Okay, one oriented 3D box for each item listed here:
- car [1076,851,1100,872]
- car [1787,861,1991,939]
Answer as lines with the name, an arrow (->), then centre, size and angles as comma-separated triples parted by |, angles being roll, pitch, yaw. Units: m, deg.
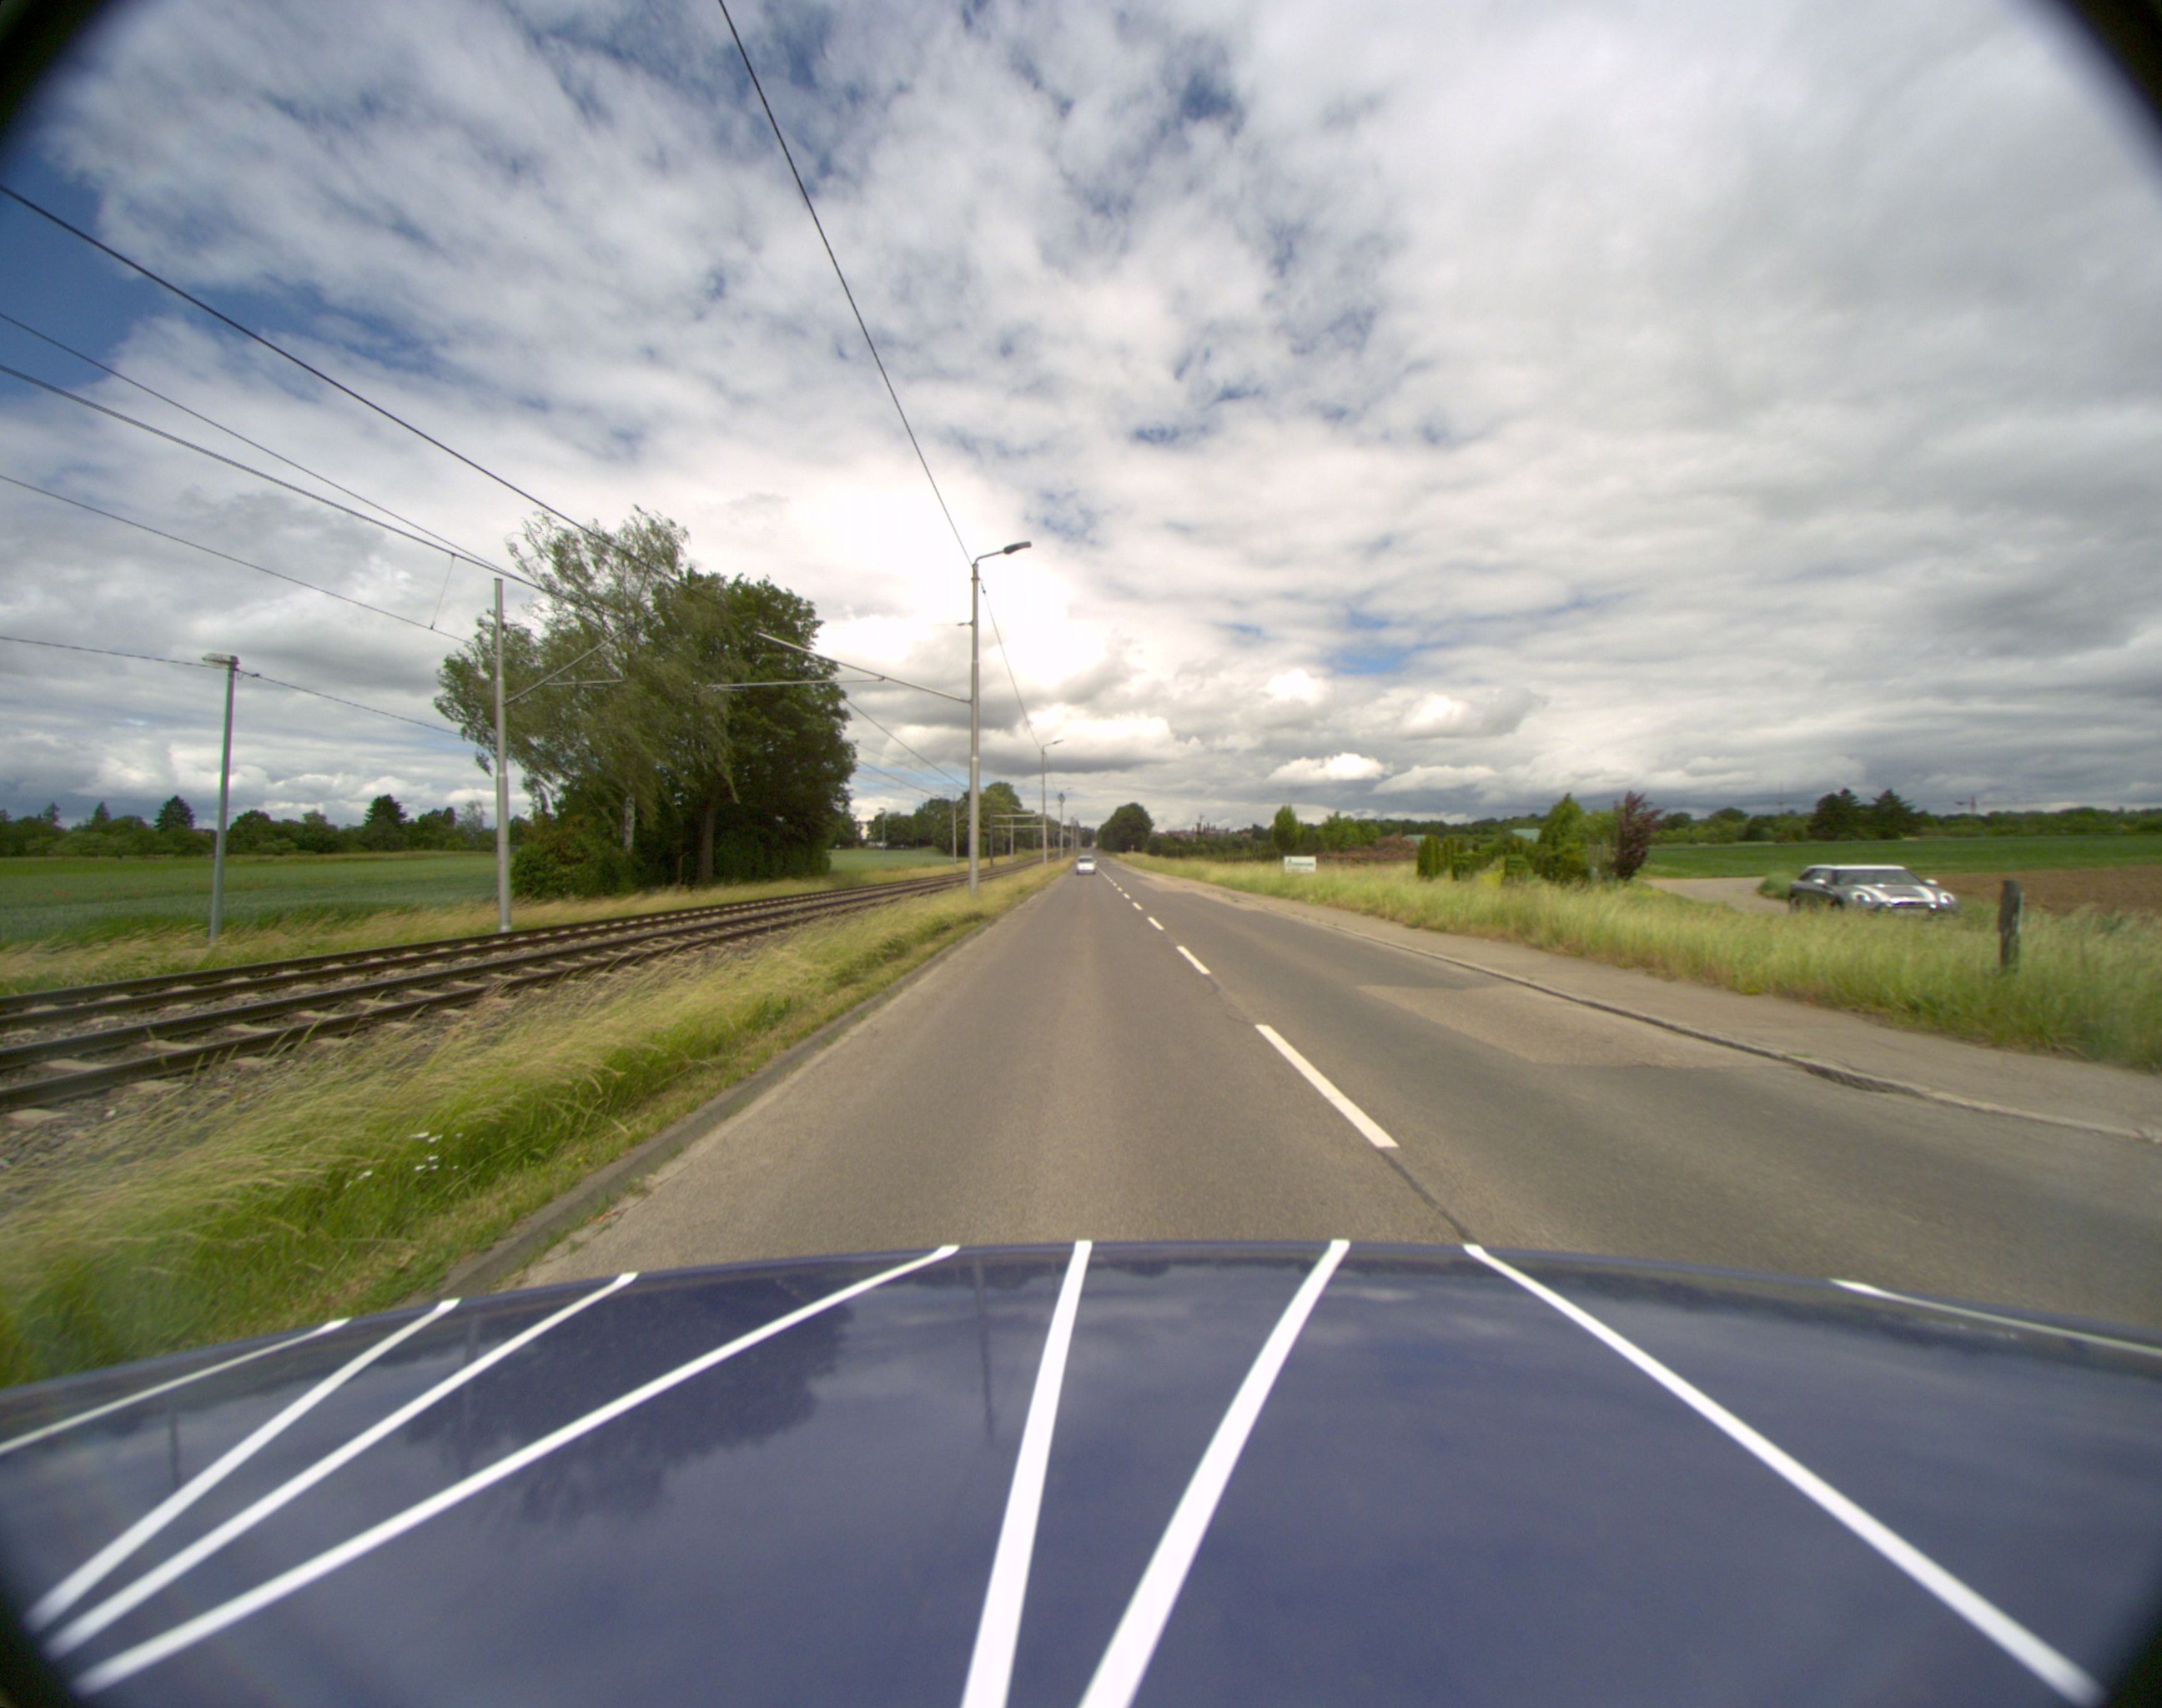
car -> 0.606, 0.647, 67.479 | 1.999, 1.679, 3.999 | -1, 1, -1
car -> 18.323, 0.947, 17.510 | 1.970, 1.445, 4.007 | 2, 2, 28
